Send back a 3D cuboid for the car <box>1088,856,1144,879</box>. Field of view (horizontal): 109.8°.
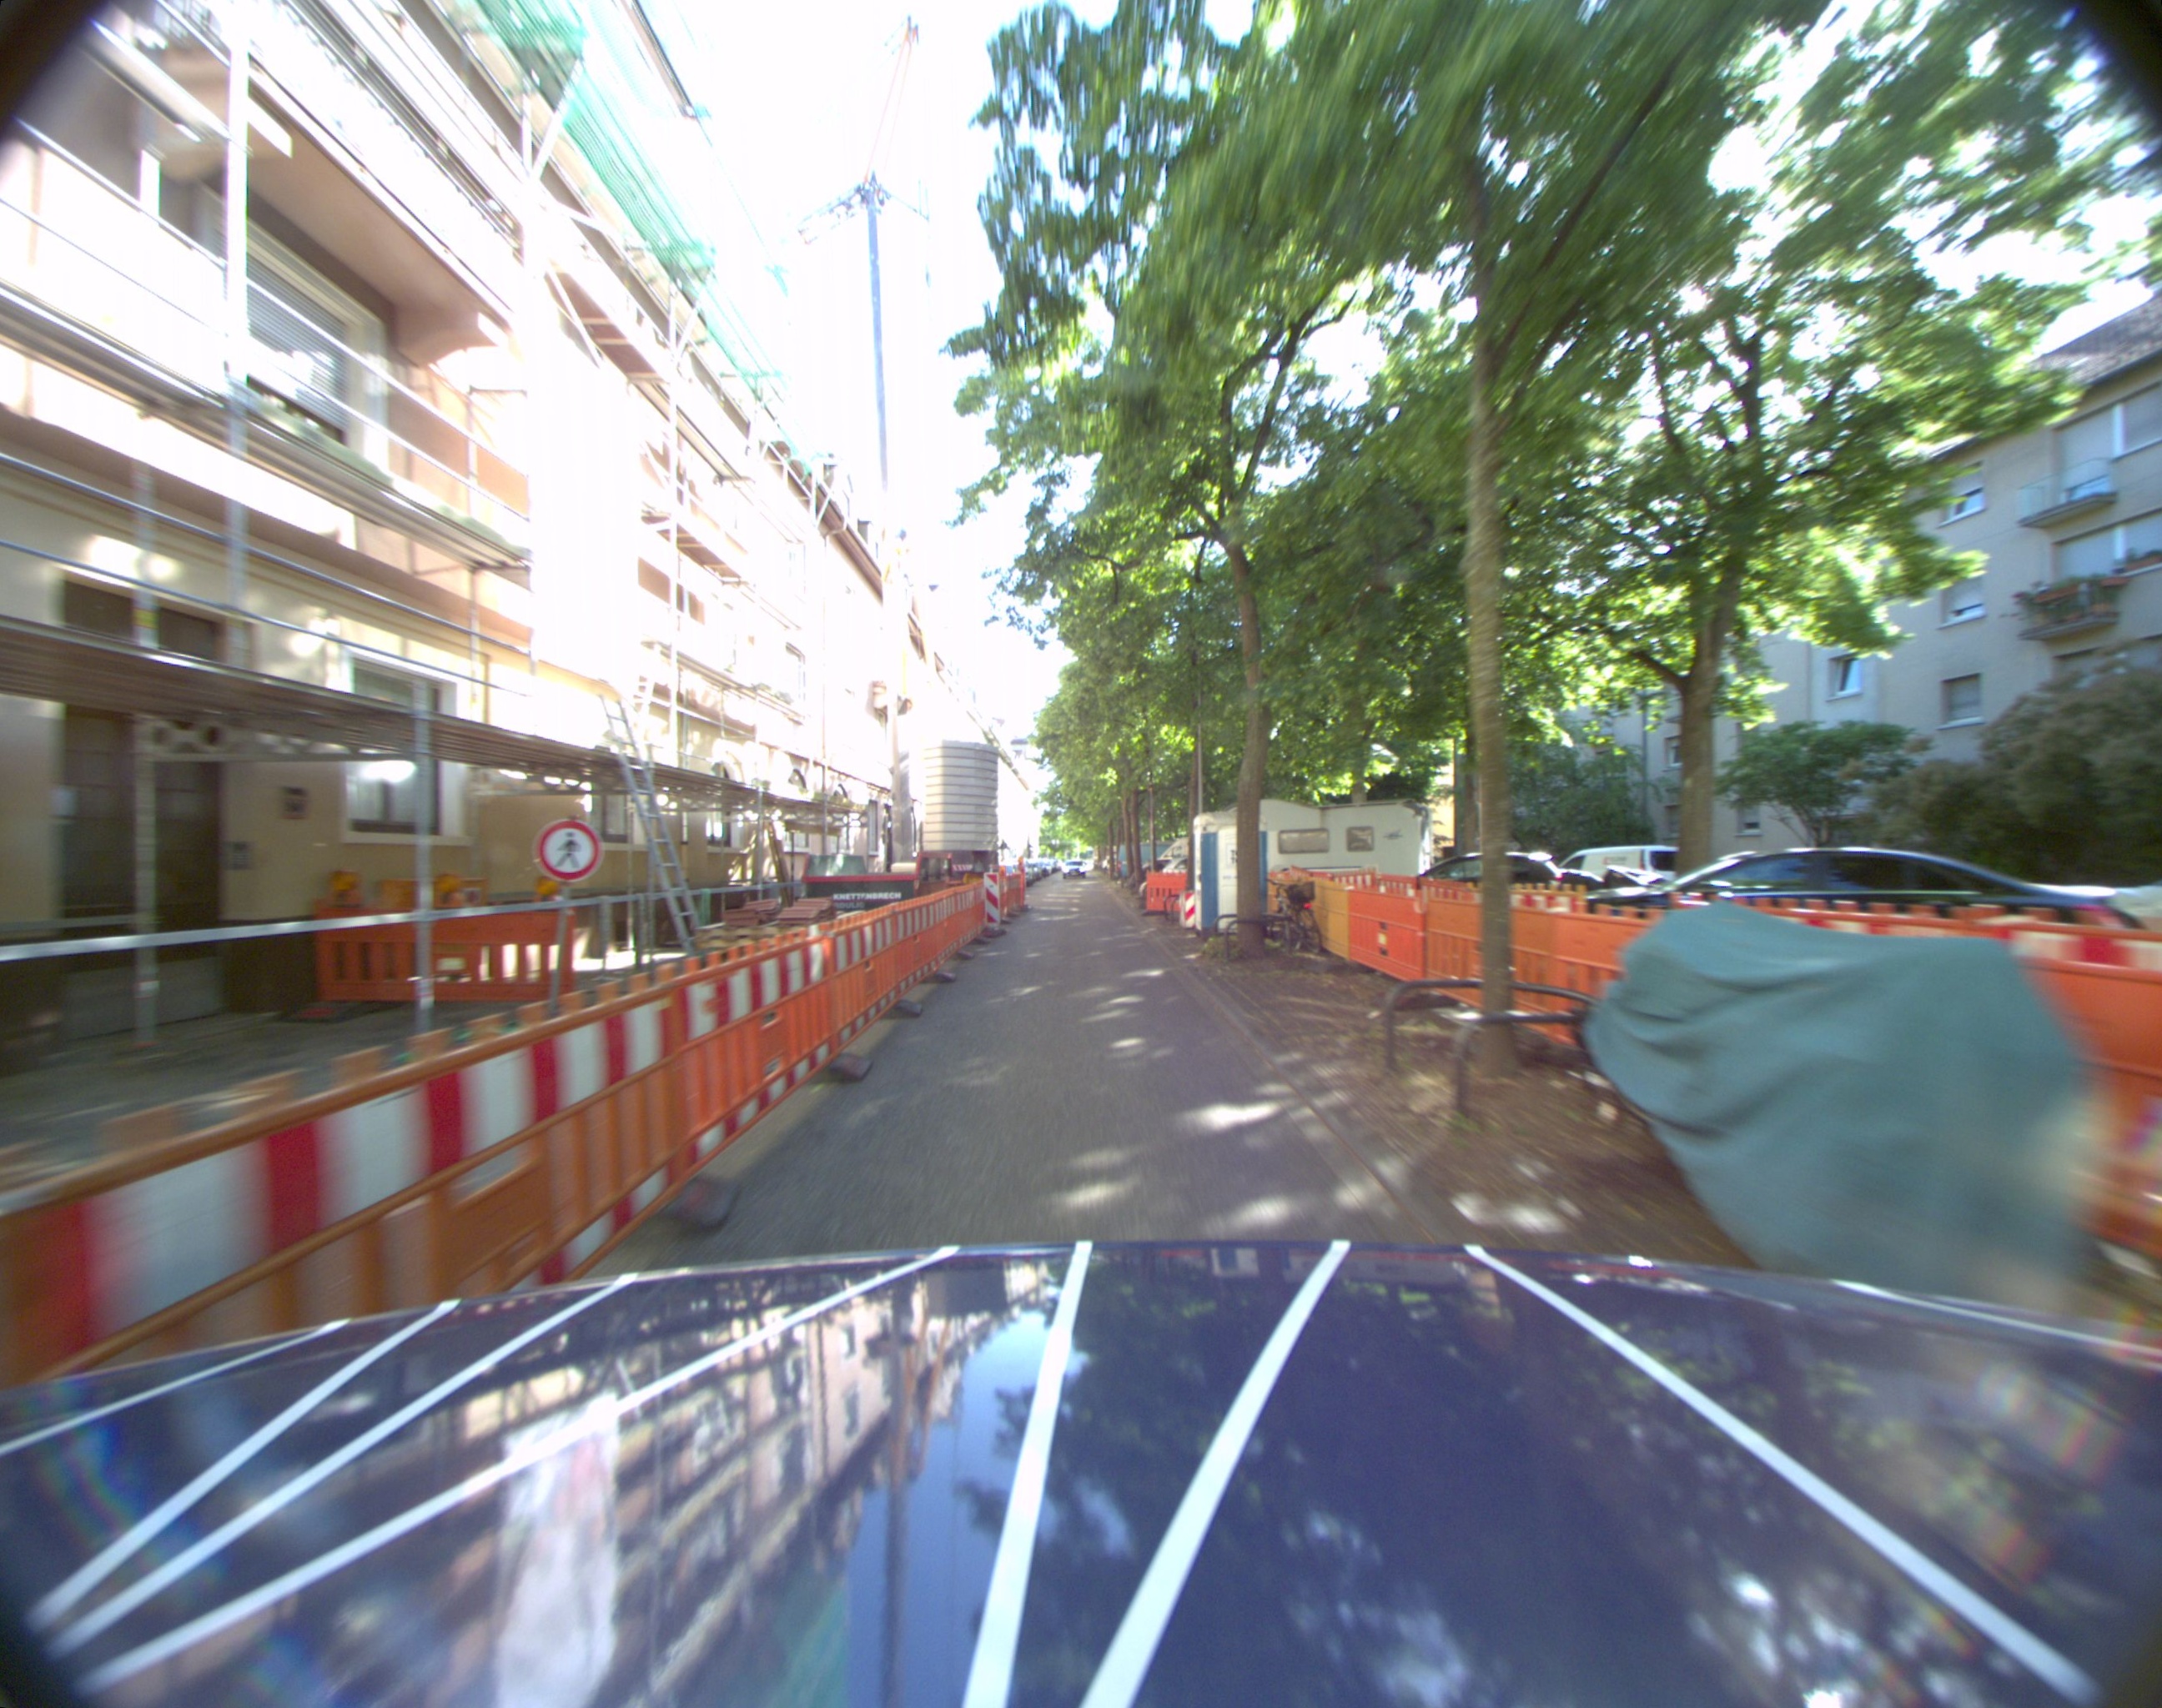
[{"bbox_3d":[2.380,0.907,51.548,3.265,1.408,1.751,-1,1,32],"label":"car"}]

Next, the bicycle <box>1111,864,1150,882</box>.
[{"bbox_3d":[2.773,1.062,42.595,2.149,0.964,0.609,0,0,7],"label":"bicycle"}]

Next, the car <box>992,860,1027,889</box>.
[{"bbox_3d":[-3.665,1.007,39.331,1.671,1.419,3.971,0,0,-4],"label":"car"}]

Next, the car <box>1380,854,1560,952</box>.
[{"bbox_3d":[7.485,0.873,14.669,2.984,1.707,1.425,0,0,32],"label":"car"}]

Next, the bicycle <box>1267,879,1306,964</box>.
[{"bbox_3d":[3.052,0.966,11.367,0.281,1.149,1.552,0,0,5],"label":"bicycle"}]

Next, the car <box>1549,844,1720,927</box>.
[{"bbox_3d":[14.959,0.780,20.879,1.625,2.002,4.267,-2,0,1],"label":"car"}]

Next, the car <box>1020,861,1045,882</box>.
[{"bbox_3d":[-3.470,1.223,54.718,1.577,1.428,3.606,0,0,-1],"label":"car"}]

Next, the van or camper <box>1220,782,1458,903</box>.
[{"bbox_3d":[7.187,-0.267,21.341,6.017,2.984,2.404,0,0,29],"label":"van or camper"}]

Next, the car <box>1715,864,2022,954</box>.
[{"bbox_3d":[14.937,0.956,14.815,1.723,1.434,4.127,0,0,0],"label":"car"}]

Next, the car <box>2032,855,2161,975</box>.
[{"bbox_3d":[14.970,0.802,9.225,1.723,1.550,4.113,0,0,0],"label":"car"}]

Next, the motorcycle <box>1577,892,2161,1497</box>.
[{"bbox_3d":[2.698,0.876,2.932,0.631,1.317,2.231,-2,0,15],"label":"motorcycle"}]

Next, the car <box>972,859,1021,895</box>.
[{"bbox_3d":[-3.652,0.973,33.538,1.766,1.455,4.244,0,0,-1],"label":"car"}]

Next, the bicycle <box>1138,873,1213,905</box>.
[{"bbox_3d":[3.052,1.137,24.531,2.379,0.972,0.502,-1,-1,9],"label":"bicycle"}]

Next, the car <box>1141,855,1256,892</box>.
[{"bbox_3d":[5.001,0.793,32.484,4.512,1.474,1.741,0,0,30],"label":"car"}]

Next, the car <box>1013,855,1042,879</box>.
[{"bbox_3d":[-3.495,0.828,50.116,1.671,1.503,3.606,0,0,-1],"label":"car"}]

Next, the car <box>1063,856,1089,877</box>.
[{"bbox_3d":[-0.378,0.938,60.625,1.792,1.510,4.001,-3,0,3],"label":"car"}]

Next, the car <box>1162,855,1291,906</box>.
[{"bbox_3d":[4.949,0.846,25.830,3.990,1.607,1.800,0,0,26],"label":"car"}]

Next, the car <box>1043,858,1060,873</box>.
[{"bbox_3d":[-3.385,1.305,87.842,1.864,1.772,4.000,0,0,-1],"label":"car"}]

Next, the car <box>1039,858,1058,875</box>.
[{"bbox_3d":[-3.459,1.350,81.861,1.864,1.772,4.000,0,0,-1],"label":"car"}]

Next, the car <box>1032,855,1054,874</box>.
[{"bbox_3d":[-3.489,0.944,69.871,1.864,1.772,4.000,0,0,-1],"label":"car"}]

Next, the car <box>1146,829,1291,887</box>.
[{"bbox_3d":[6.268,0.185,34.953,6.186,2.496,2.143,0,0,27],"label":"car"}]

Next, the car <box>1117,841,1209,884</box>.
[{"bbox_3d":[4.222,0.438,39.339,4.387,2.155,1.774,0,0,27],"label":"car"}]

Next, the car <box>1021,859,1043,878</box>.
[{"bbox_3d":[-3.808,1.105,59.938,1.577,1.446,3.402,0,0,-1],"label":"car"}]

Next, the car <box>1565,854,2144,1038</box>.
[{"bbox_3d":[7.499,0.758,8.024,3.988,1.510,1.674,0,0,34],"label":"car"}]

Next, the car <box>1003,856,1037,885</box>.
[{"bbox_3d":[-3.506,0.912,44.375,1.671,1.590,4.273,0,0,-1],"label":"car"}]

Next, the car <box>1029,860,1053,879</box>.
[{"bbox_3d":[-3.358,1.268,64.172,1.864,1.584,4.000,0,0,-1],"label":"car"}]

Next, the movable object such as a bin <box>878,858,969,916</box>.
[{"bbox_3d":[-4.393,0.868,21.202,1.872,1.518,1.631,0,0,34],"label":"movable object such as a bin"}]
